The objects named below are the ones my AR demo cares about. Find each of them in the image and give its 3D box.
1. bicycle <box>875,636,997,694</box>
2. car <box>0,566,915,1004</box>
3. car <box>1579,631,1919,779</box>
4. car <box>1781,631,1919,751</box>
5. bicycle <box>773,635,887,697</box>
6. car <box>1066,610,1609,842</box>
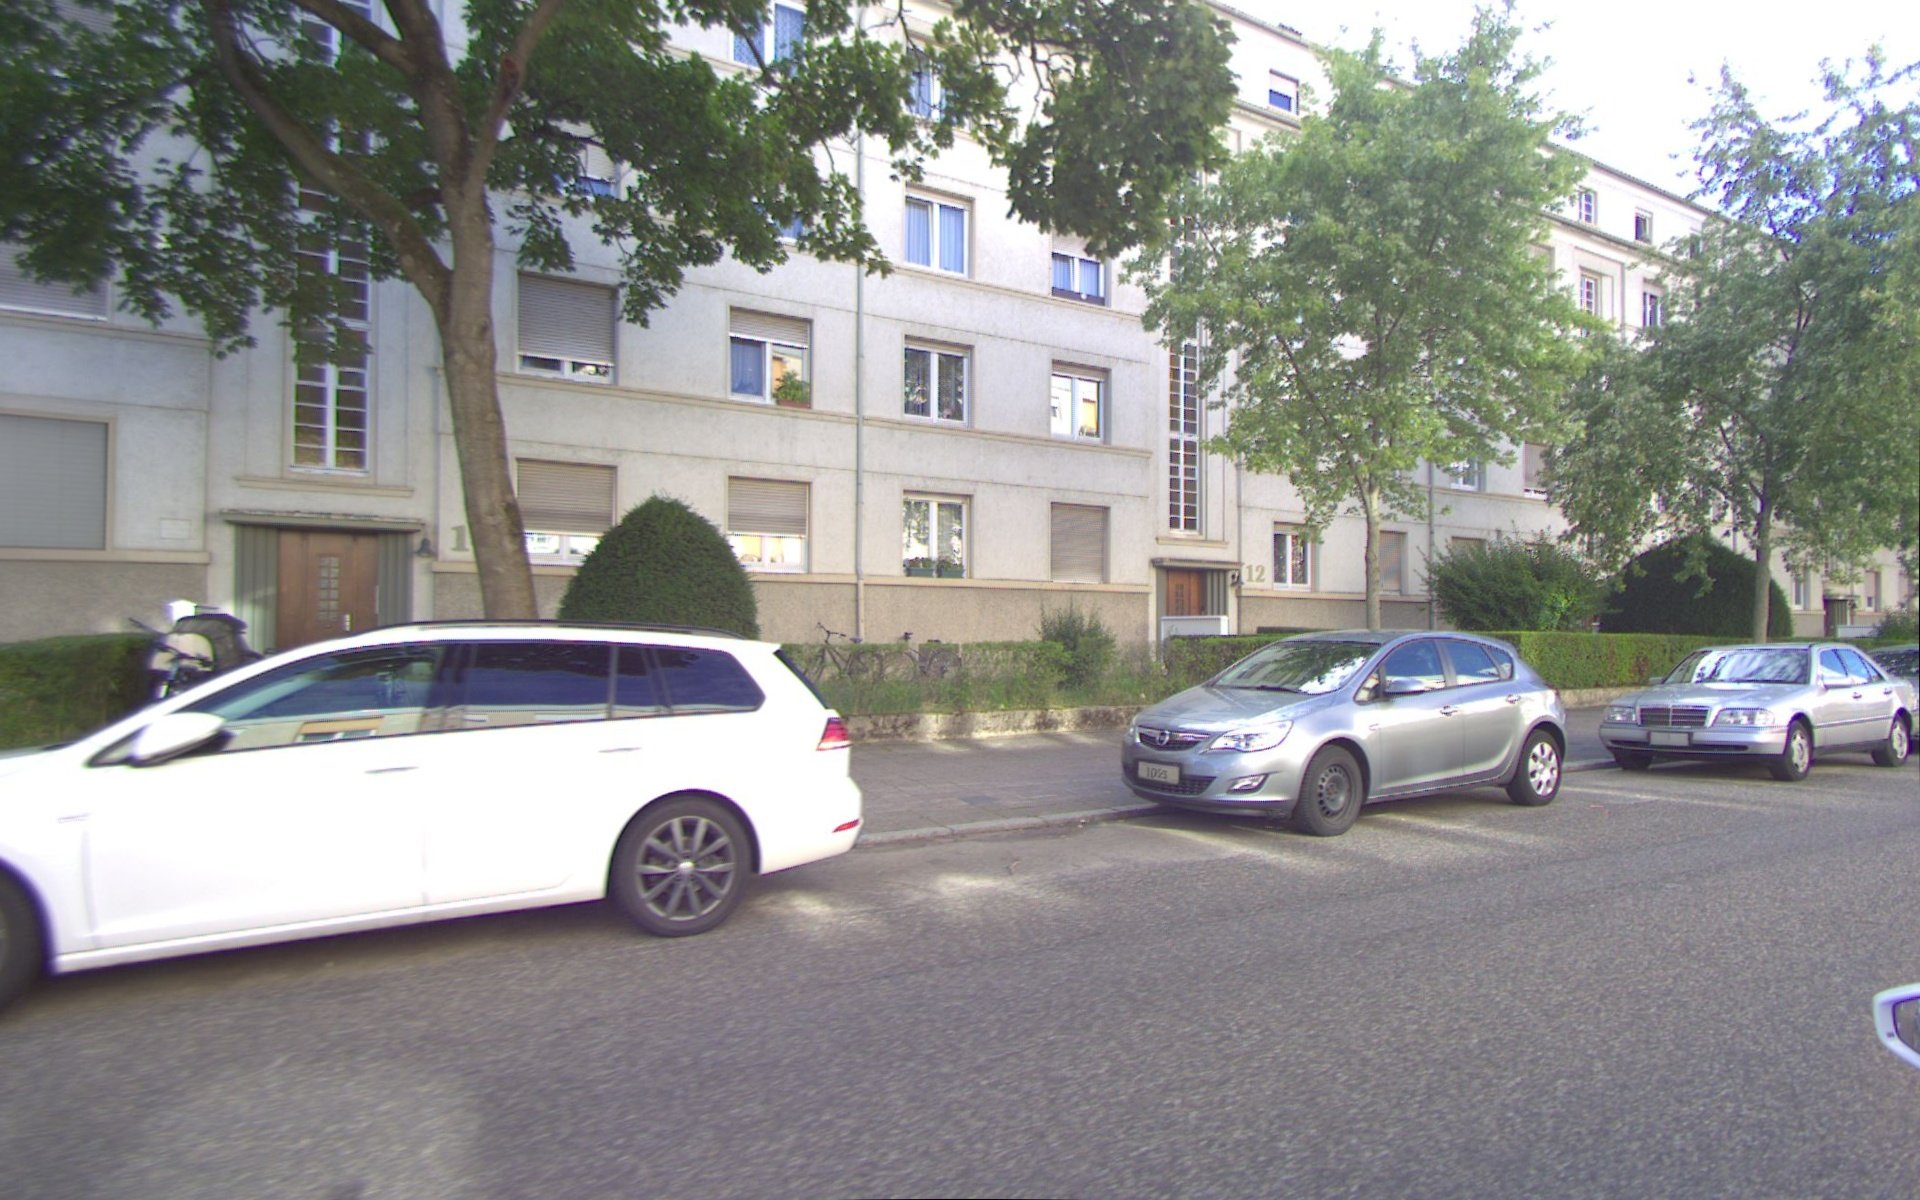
[{"bbox_3d":[-0.444,1.247,19.661,2.377,1.074,0.631,2,-1,-31],"label":"bicycle"},{"bbox_3d":[-2.748,0.726,4.867,4.740,1.505,1.848,1,-5,-30],"label":"car"},{"bbox_3d":[9.315,1.104,11.573,4.611,1.411,1.730,1,-4,-30],"label":"car"},{"bbox_3d":[13.968,1.228,14.294,4.885,1.505,1.848,1,-4,-30],"label":"car"},{"bbox_3d":[-2.384,1.193,18.532,2.000,1.074,0.631,1,-1,-30],"label":"bicycle"},{"bbox_3d":[3.306,0.896,8.529,4.630,1.505,1.846,1,-3,-31],"label":"car"}]
